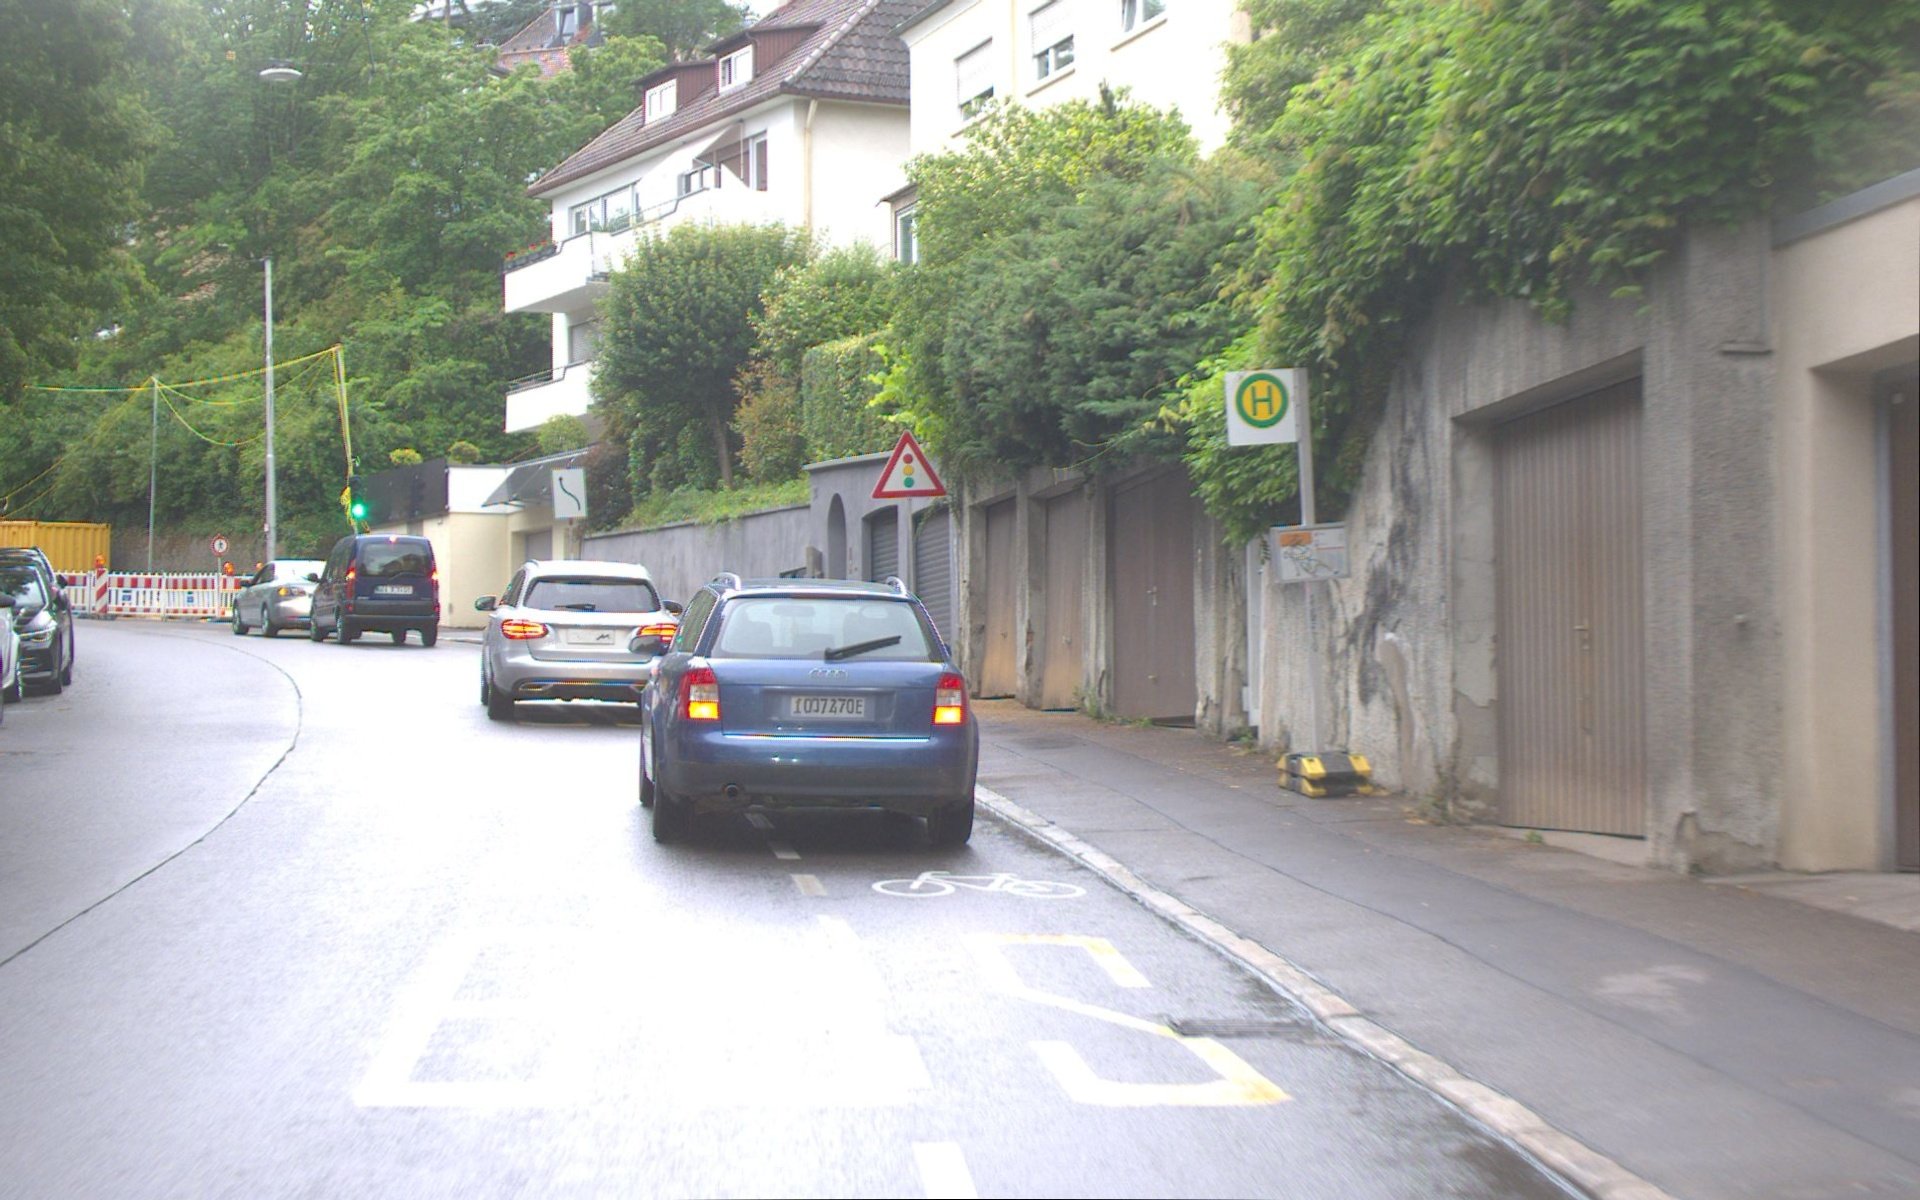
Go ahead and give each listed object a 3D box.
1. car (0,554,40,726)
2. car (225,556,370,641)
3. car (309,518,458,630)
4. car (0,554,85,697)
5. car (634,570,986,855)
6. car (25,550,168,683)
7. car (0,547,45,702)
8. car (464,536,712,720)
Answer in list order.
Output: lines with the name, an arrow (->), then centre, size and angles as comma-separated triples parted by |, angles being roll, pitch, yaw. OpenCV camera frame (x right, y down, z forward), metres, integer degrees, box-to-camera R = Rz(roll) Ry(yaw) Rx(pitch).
car -> -9.187, 0.391, 29.936 | 1.664, 1.483, 4.476 | -4, 1, -8
car -> -12.217, -0.056, 63.223 | 1.720, 1.481, 4.077 | -1, 1, -24
car -> -9.743, -0.452, 57.881 | 1.993, 1.787, 4.001 | -1, 1, -16
car -> -10.809, 0.300, 38.698 | 1.555, 1.483, 4.099 | -4, 1, -11
car -> -0.952, 0.559, 19.603 | 1.785, 1.437, 3.964 | 0, 1, -6
car -> -10.906, 0.194, 43.556 | 1.632, 1.559, 3.850 | -2, 0, -13
car -> -10.303, 0.274, 34.978 | 1.555, 1.505, 3.384 | -3, 1, -10
car -> -3.605, 0.218, 32.667 | 1.925, 1.612, 4.322 | 1, 1, -12
